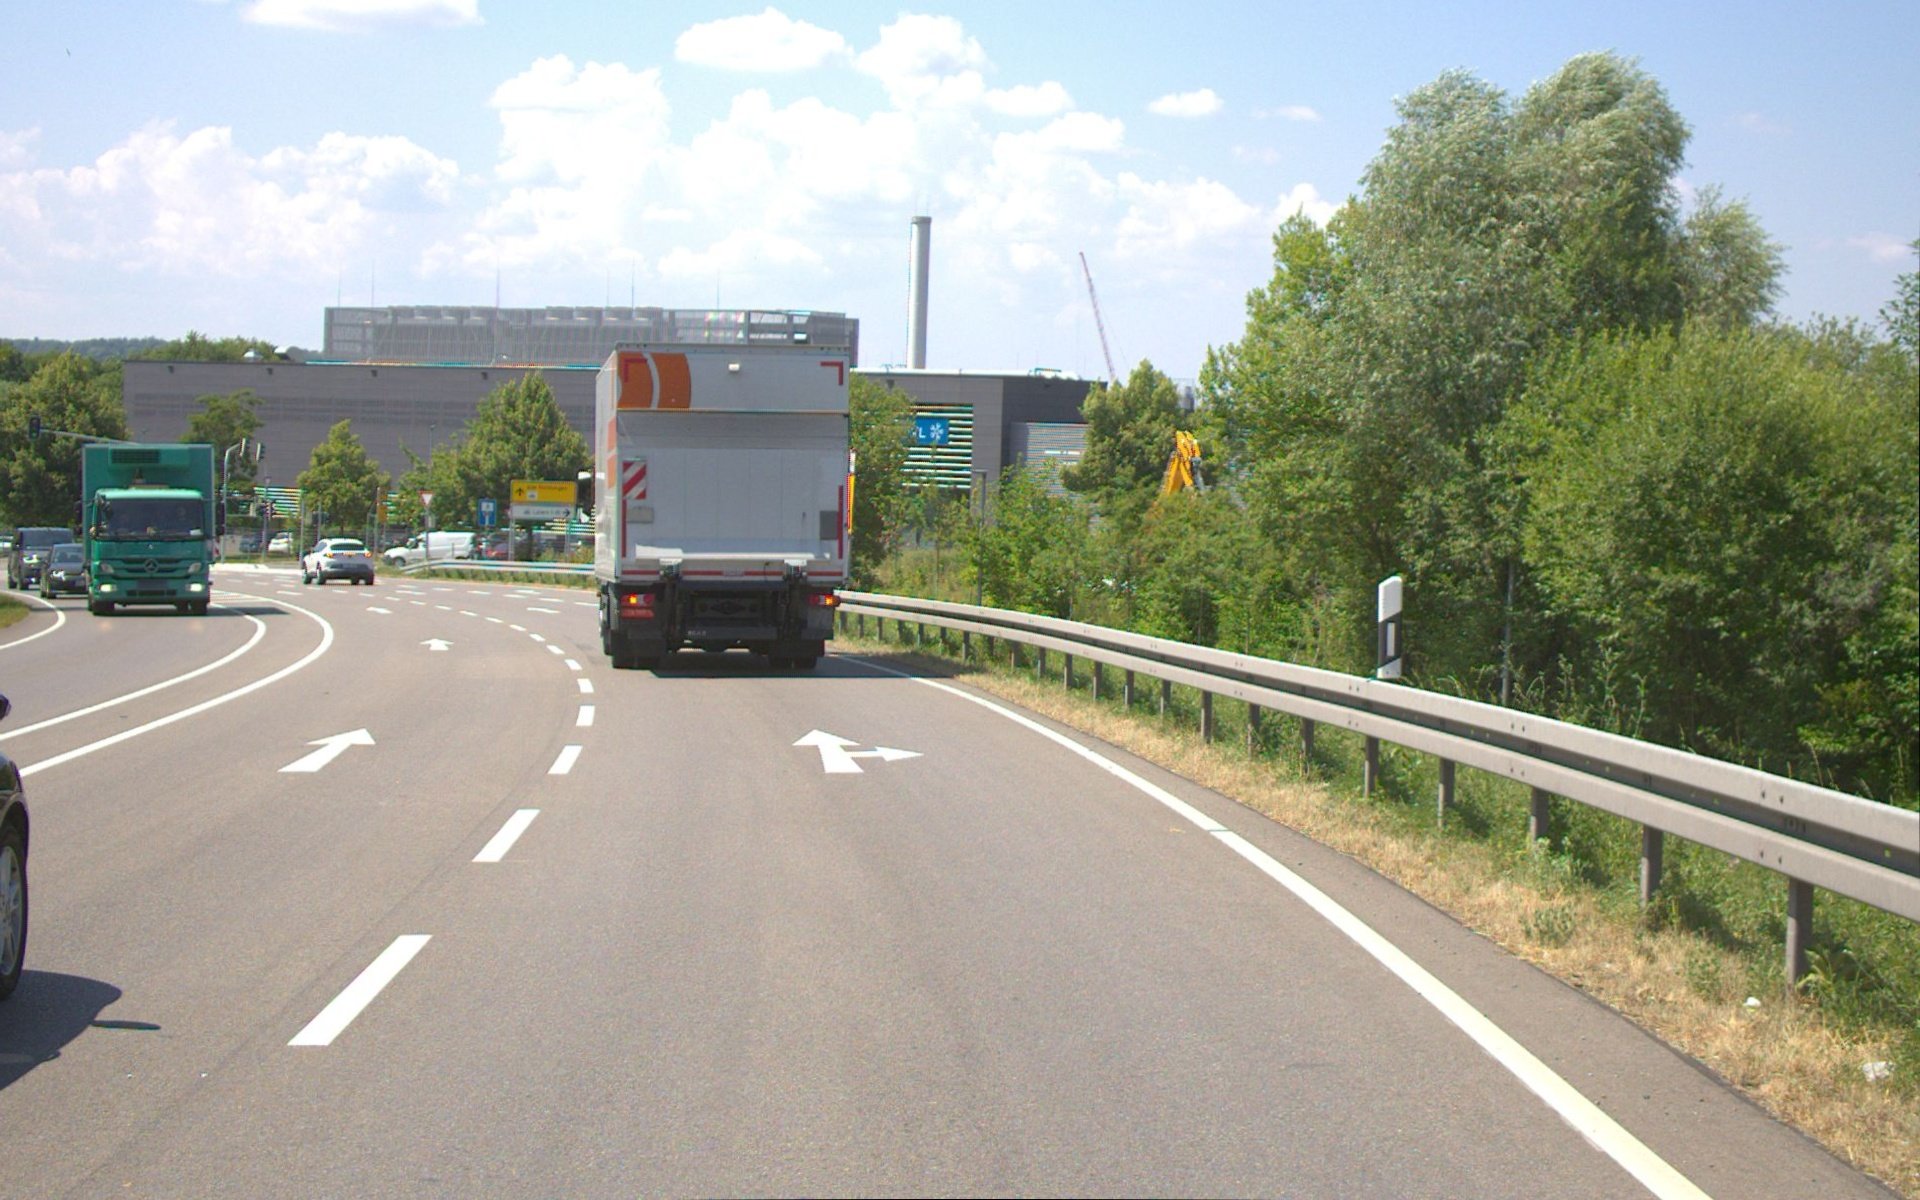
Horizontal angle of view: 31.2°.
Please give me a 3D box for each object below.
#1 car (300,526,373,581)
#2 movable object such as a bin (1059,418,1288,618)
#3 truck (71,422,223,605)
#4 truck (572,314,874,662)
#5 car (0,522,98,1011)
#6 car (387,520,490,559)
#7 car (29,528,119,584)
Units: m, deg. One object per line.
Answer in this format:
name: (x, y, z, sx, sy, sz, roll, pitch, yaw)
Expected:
car: (-20.533, -1.555, 113.146, 1.943, 1.658, 4.001, 3, 1, -15)
movable object such as a bin: (6.021, -2.476, 99.223, 3.423, 5.242, 9.233, 2, 3, -16)
truck: (-16.907, -1.799, 71.927, 2.868, 3.562, 9.434, 0, 1, -12)
truck: (-3.051, -1.344, 41.501, 2.803, 3.698, 9.111, 1, 2, -9)
car: (-3.769, 0.548, 9.764, 1.653, 1.488, 4.208, 1, 2, -1)
car: (-26.028, -3.007, 171.765, 4.745, 1.925, 2.153, 0, 1, 2)
car: (-23.238, -1.162, 90.294, 1.876, 1.437, 4.331, 0, 1, -9)
